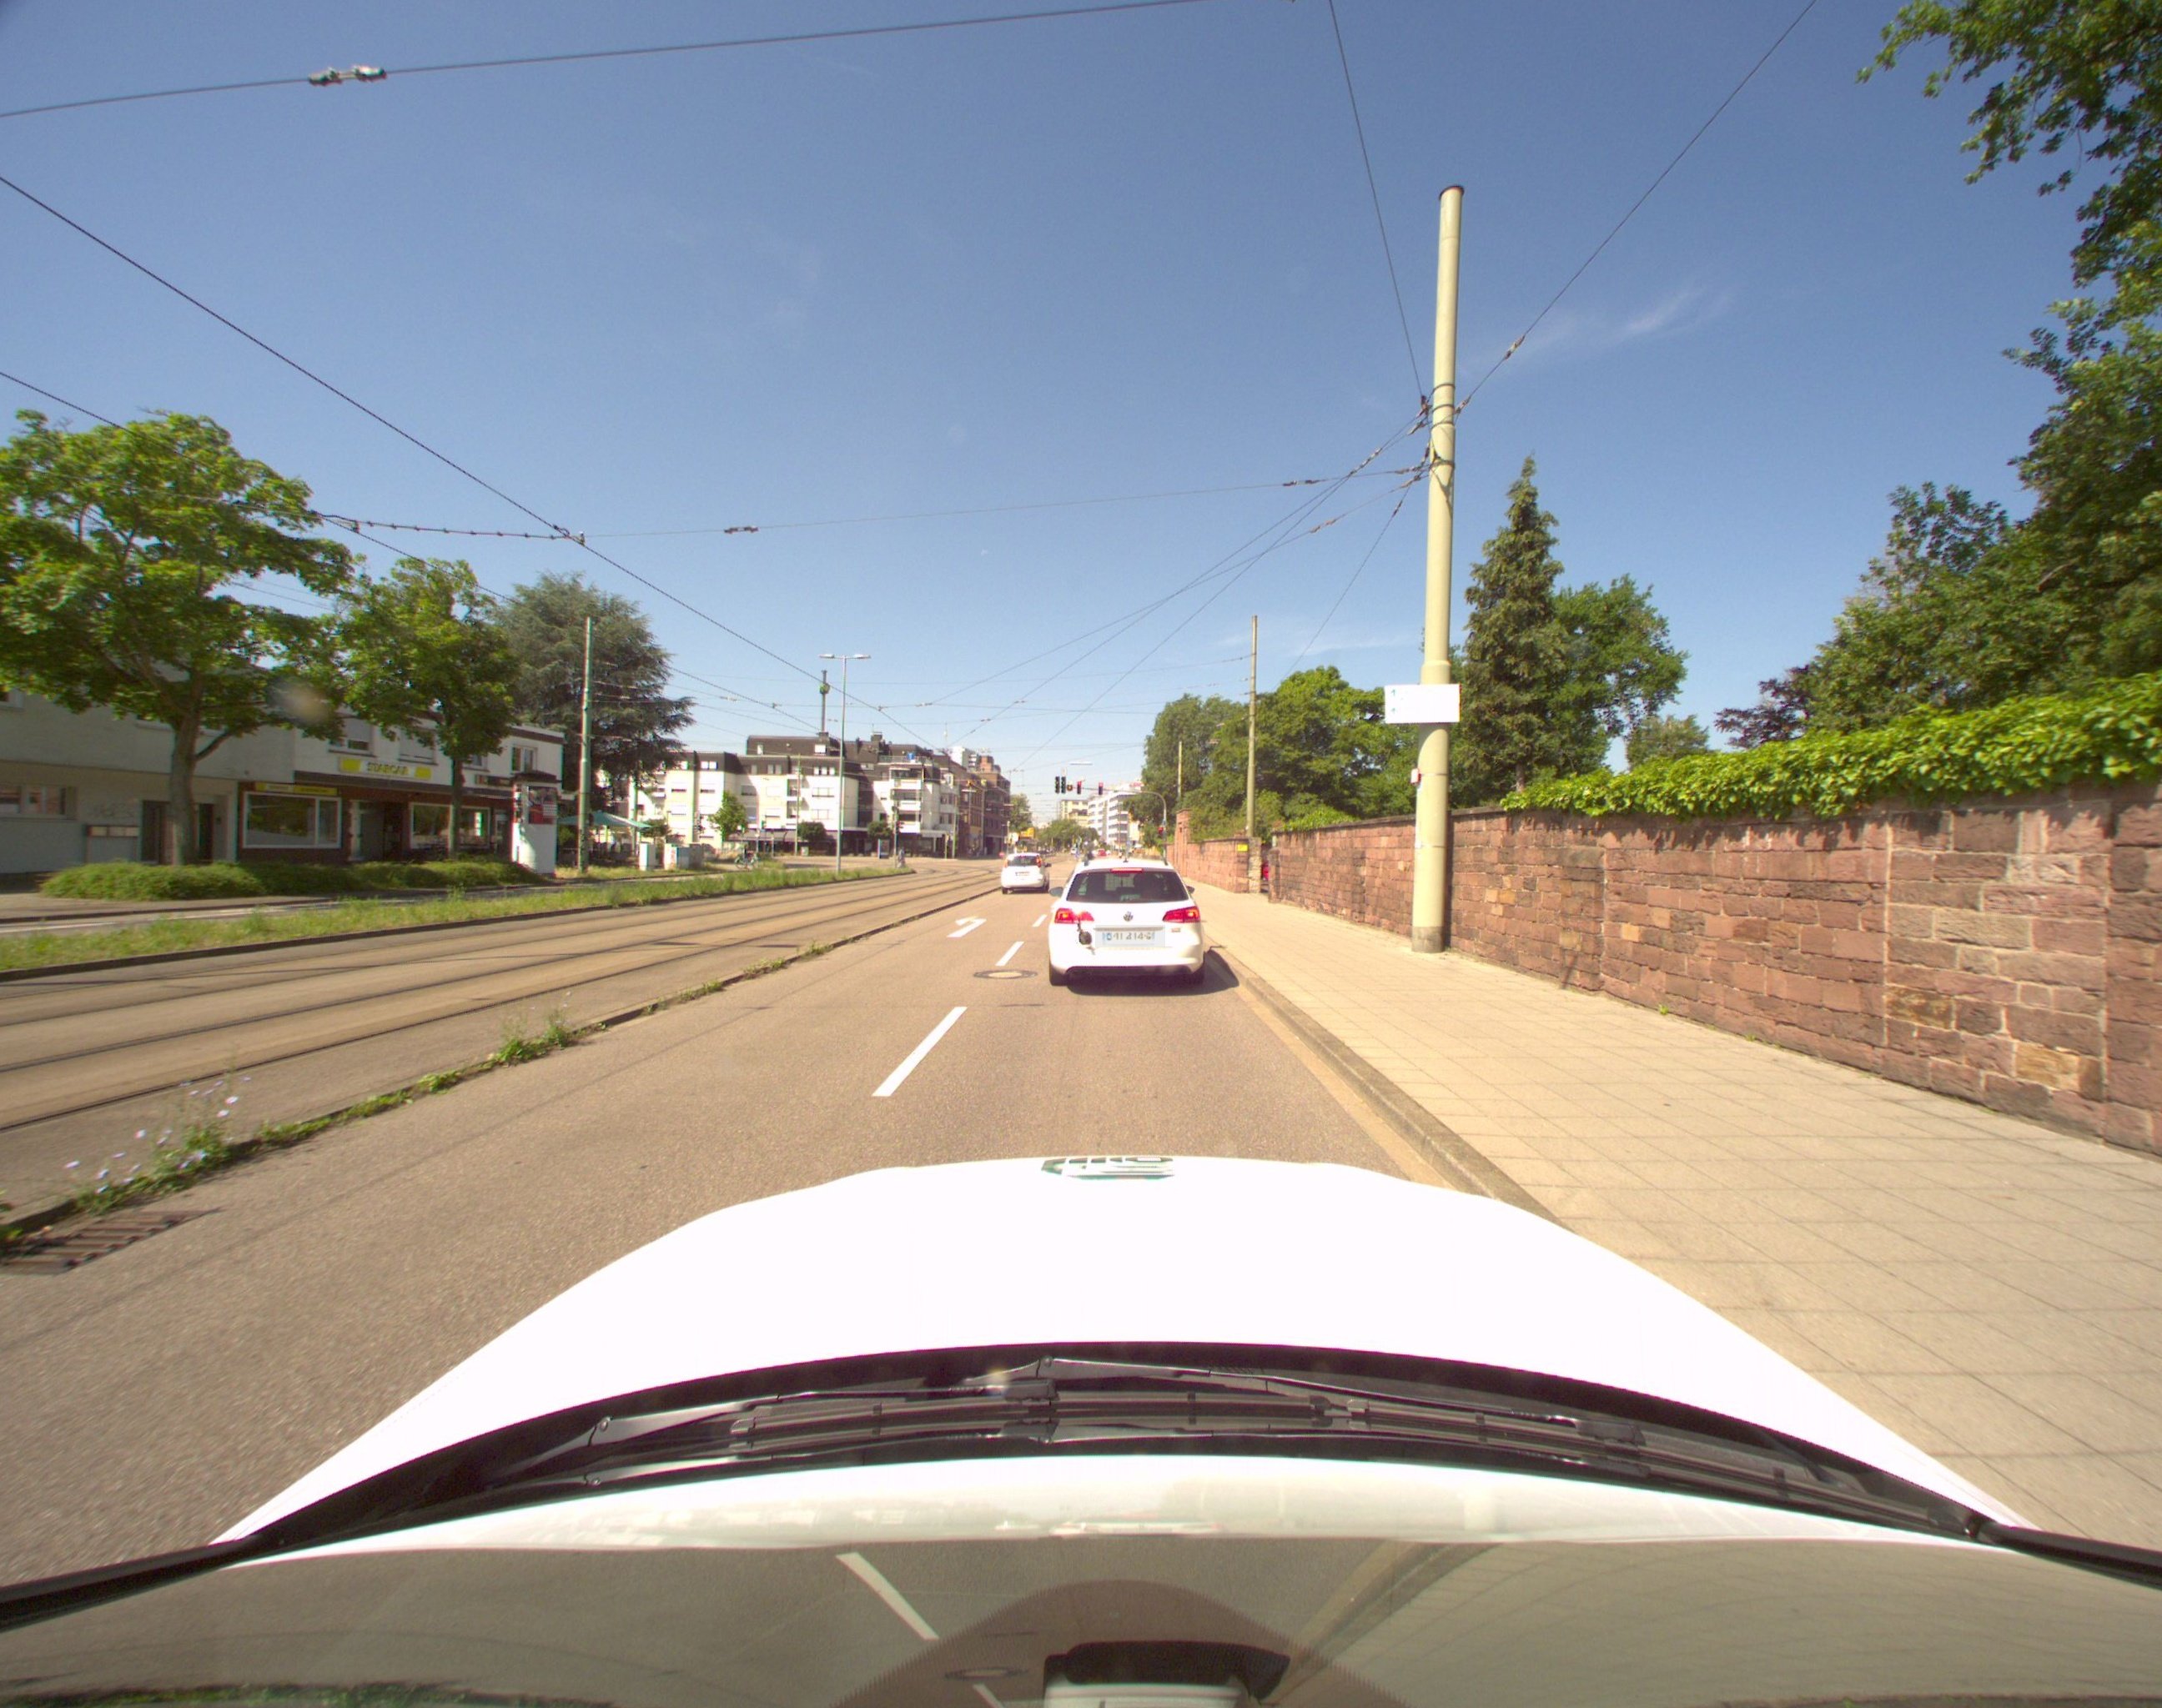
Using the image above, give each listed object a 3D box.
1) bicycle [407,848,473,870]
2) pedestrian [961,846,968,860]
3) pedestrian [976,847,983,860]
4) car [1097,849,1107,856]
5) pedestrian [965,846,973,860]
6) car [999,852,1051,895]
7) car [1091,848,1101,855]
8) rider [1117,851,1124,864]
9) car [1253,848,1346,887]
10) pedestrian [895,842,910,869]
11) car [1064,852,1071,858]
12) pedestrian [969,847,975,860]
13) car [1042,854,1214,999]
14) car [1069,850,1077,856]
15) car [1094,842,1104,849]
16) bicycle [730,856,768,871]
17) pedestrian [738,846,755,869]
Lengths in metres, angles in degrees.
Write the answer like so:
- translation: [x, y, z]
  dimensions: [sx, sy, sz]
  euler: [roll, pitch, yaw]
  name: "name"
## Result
- translation: [-26.923, 0.182, 34.256]
  dimensions: [0.780, 0.888, 2.392]
  euler: [1, 0, 2]
  name: "bicycle"
- translation: [-17.542, -0.120, 122.995]
  dimensions: [0.934, 2.013, 0.989]
  euler: [1, 0, -3]
  name: "pedestrian"
- translation: [-15.659, -0.106, 125.377]
  dimensions: [0.935, 2.013, 0.989]
  euler: [1, 0, -4]
  name: "pedestrian"
- translation: [6.033, -0.508, 230.583]
  dimensions: [1.995, 2.013, 3.984]
  euler: [1, 0, -12]
  name: "car"
- translation: [-16.468, -0.104, 119.787]
  dimensions: [0.934, 2.013, 0.989]
  euler: [1, 0, -3]
  name: "pedestrian"
- translation: [-2.182, 0.717, 32.631]
  dimensions: [1.724, 1.596, 4.012]
  euler: [1, 0, 1]
  name: "car"
- translation: [4.069, -0.621, 220.165]
  dimensions: [1.993, 1.903, 3.987]
  euler: [1, 0, -9]
  name: "car"
- translation: [5.572, 0.474, 114.306]
  dimensions: [0.887, 1.728, 2.205]
  euler: [1, 0, 2]
  name: "rider"
- translation: [8.857, 0.542, 33.161]
  dimensions: [3.395, 1.464, 1.525]
  euler: [1, 0, 1]
  name: "car"
- translation: [-11.689, 0.114, 53.365]
  dimensions: [0.825, 1.738, 0.930]
  euler: [1, 0, -6]
  name: "pedestrian"
- translation: [-3.346, 0.185, 203.894]
  dimensions: [1.693, 1.591, 3.535]
  euler: [1, 0, 1]
  name: "car"
- translation: [-16.546, -0.115, 123.672]
  dimensions: [0.935, 2.013, 0.989]
  euler: [1, 0, -4]
  name: "pedestrian"
- translation: [0.565, 0.746, 10.331]
  dimensions: [1.772, 1.490, 3.849]
  euler: [0, 0, 2]
  name: "car"
- translation: [-2.374, -0.217, 236.942]
  dimensions: [1.698, 1.591, 3.524]
  euler: [1, 0, -9]
  name: "car"
- translation: [5.364, -2.571, 245.243]
  dimensions: [1.995, 2.013, 3.984]
  euler: [1, 0, -12]
  name: "car"
- translation: [-20.935, 0.598, 51.408]
  dimensions: [2.189, 0.921, 0.547]
  euler: [1, 0, -41]
  name: "bicycle"
- translation: [-21.291, 0.211, 51.829]
  dimensions: [0.820, 1.487, 0.559]
  euler: [1, 0, -41]
  name: "pedestrian"
